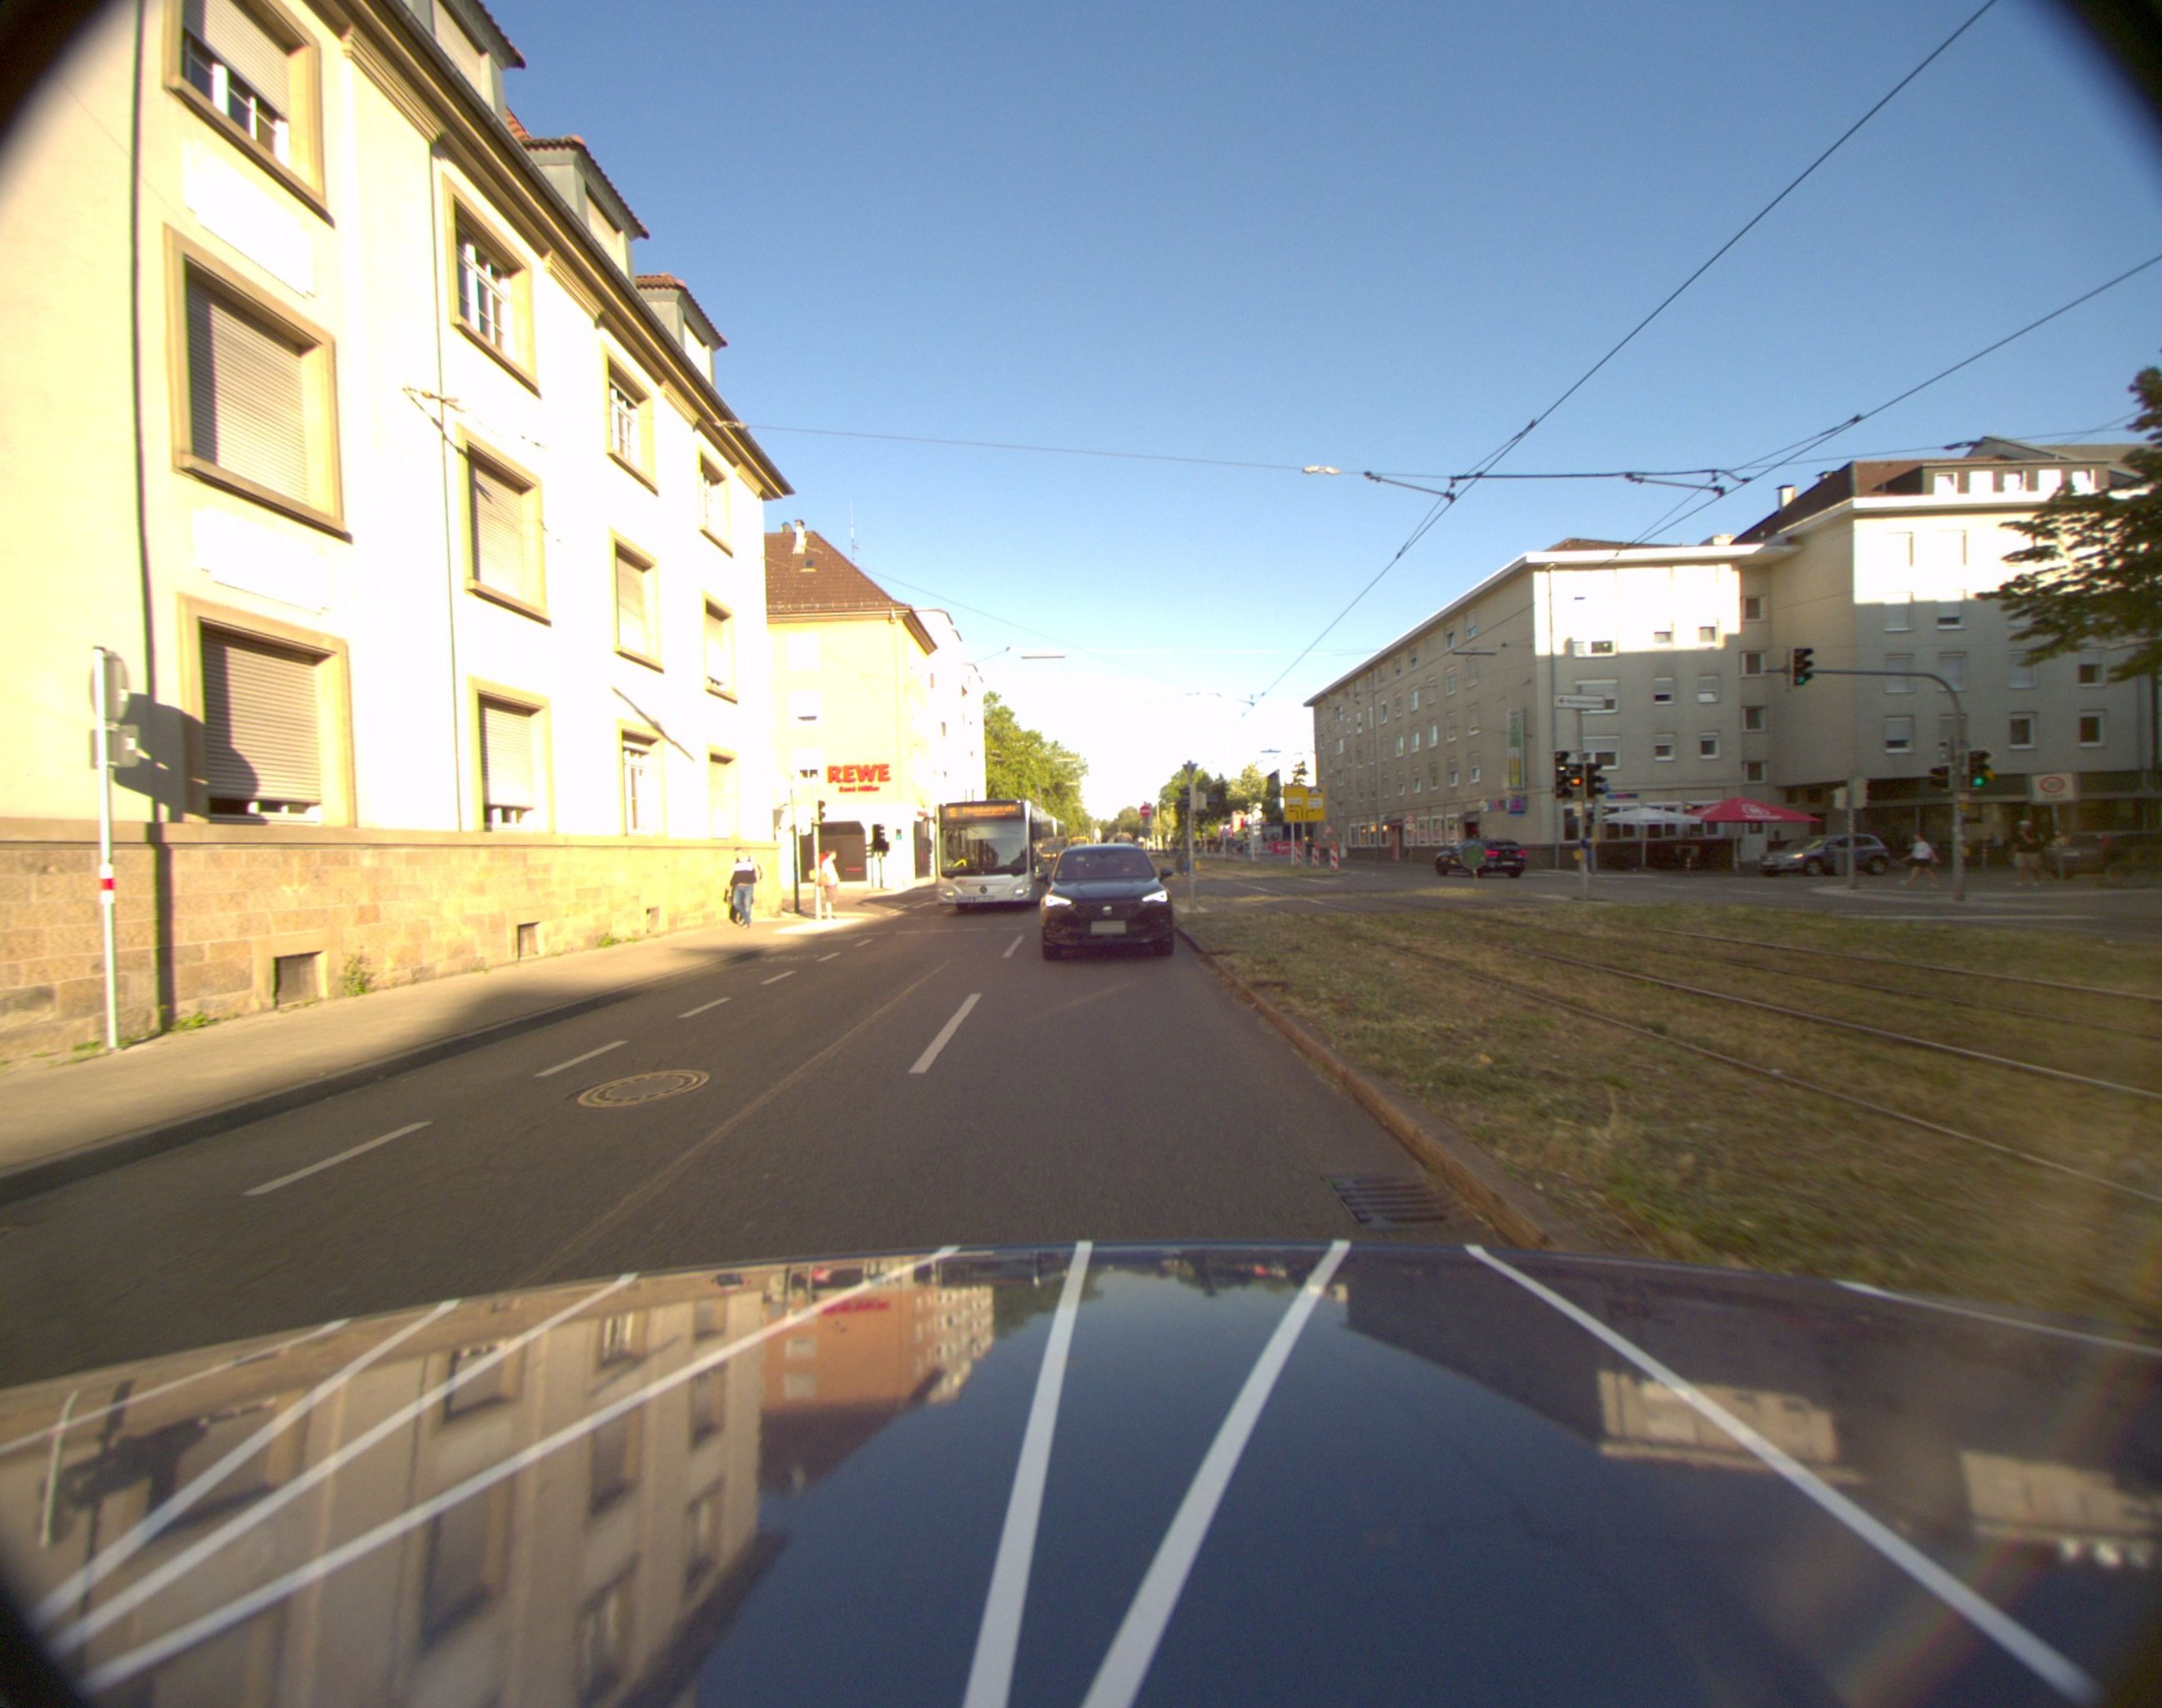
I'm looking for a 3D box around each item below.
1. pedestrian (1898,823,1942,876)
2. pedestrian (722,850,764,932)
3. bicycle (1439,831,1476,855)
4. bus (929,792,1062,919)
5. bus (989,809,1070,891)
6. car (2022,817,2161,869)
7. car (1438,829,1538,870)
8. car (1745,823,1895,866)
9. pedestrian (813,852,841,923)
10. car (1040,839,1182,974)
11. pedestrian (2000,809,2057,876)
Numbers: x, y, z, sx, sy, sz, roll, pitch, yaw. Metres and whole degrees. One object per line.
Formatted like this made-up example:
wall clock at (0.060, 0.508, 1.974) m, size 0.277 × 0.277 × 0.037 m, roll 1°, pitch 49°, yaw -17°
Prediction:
pedestrian at (23.885, -0.133, 21.637) m, size 0.624 × 1.482 × 0.582 m, roll -2°, pitch 2°, yaw 0°
pedestrian at (-7.242, 0.783, 16.313) m, size 0.648 × 1.721 × 0.558 m, roll 1°, pitch 1°, yaw 1°
bicycle at (22.241, -0.648, 44.981) m, size 0.579 × 1.370 × 3.236 m, roll -2°, pitch 1°, yaw 0°
bus at (-2.273, -0.062, 24.323) m, size 2.731 × 3.060 × 10.599 m, roll -2°, pitch 1°, yaw 1°
bus at (-2.076, -0.247, 34.964) m, size 2.712 × 3.060 × 10.598 m, roll -3°, pitch 1°, yaw 1°
car at (32.240, -0.356, 23.611) m, size 3.999 × 1.499 × 1.815 m, roll -1°, pitch 1°, yaw -5°
car at (17.198, -0.183, 32.382) m, size 1.922 × 1.581 × 4.468 m, roll -1°, pitch 1°, yaw 1°
car at (28.745, -0.380, 29.632) m, size 3.998 × 1.499 × 1.999 m, roll -2°, pitch 1°, yaw -3°
pedestrian at (-6.293, 0.818, 18.830) m, size 0.527 × 1.721 × 0.445 m, roll 1°, pitch 0°, yaw -1°
car at (0.480, 0.640, 11.910) m, size 1.787 × 1.615 × 4.215 m, roll -2°, pitch 2°, yaw 3°
pedestrian at (25.580, -0.319, 20.521) m, size 0.634 × 1.760 × 0.826 m, roll -1°, pitch 2°, yaw 22°
